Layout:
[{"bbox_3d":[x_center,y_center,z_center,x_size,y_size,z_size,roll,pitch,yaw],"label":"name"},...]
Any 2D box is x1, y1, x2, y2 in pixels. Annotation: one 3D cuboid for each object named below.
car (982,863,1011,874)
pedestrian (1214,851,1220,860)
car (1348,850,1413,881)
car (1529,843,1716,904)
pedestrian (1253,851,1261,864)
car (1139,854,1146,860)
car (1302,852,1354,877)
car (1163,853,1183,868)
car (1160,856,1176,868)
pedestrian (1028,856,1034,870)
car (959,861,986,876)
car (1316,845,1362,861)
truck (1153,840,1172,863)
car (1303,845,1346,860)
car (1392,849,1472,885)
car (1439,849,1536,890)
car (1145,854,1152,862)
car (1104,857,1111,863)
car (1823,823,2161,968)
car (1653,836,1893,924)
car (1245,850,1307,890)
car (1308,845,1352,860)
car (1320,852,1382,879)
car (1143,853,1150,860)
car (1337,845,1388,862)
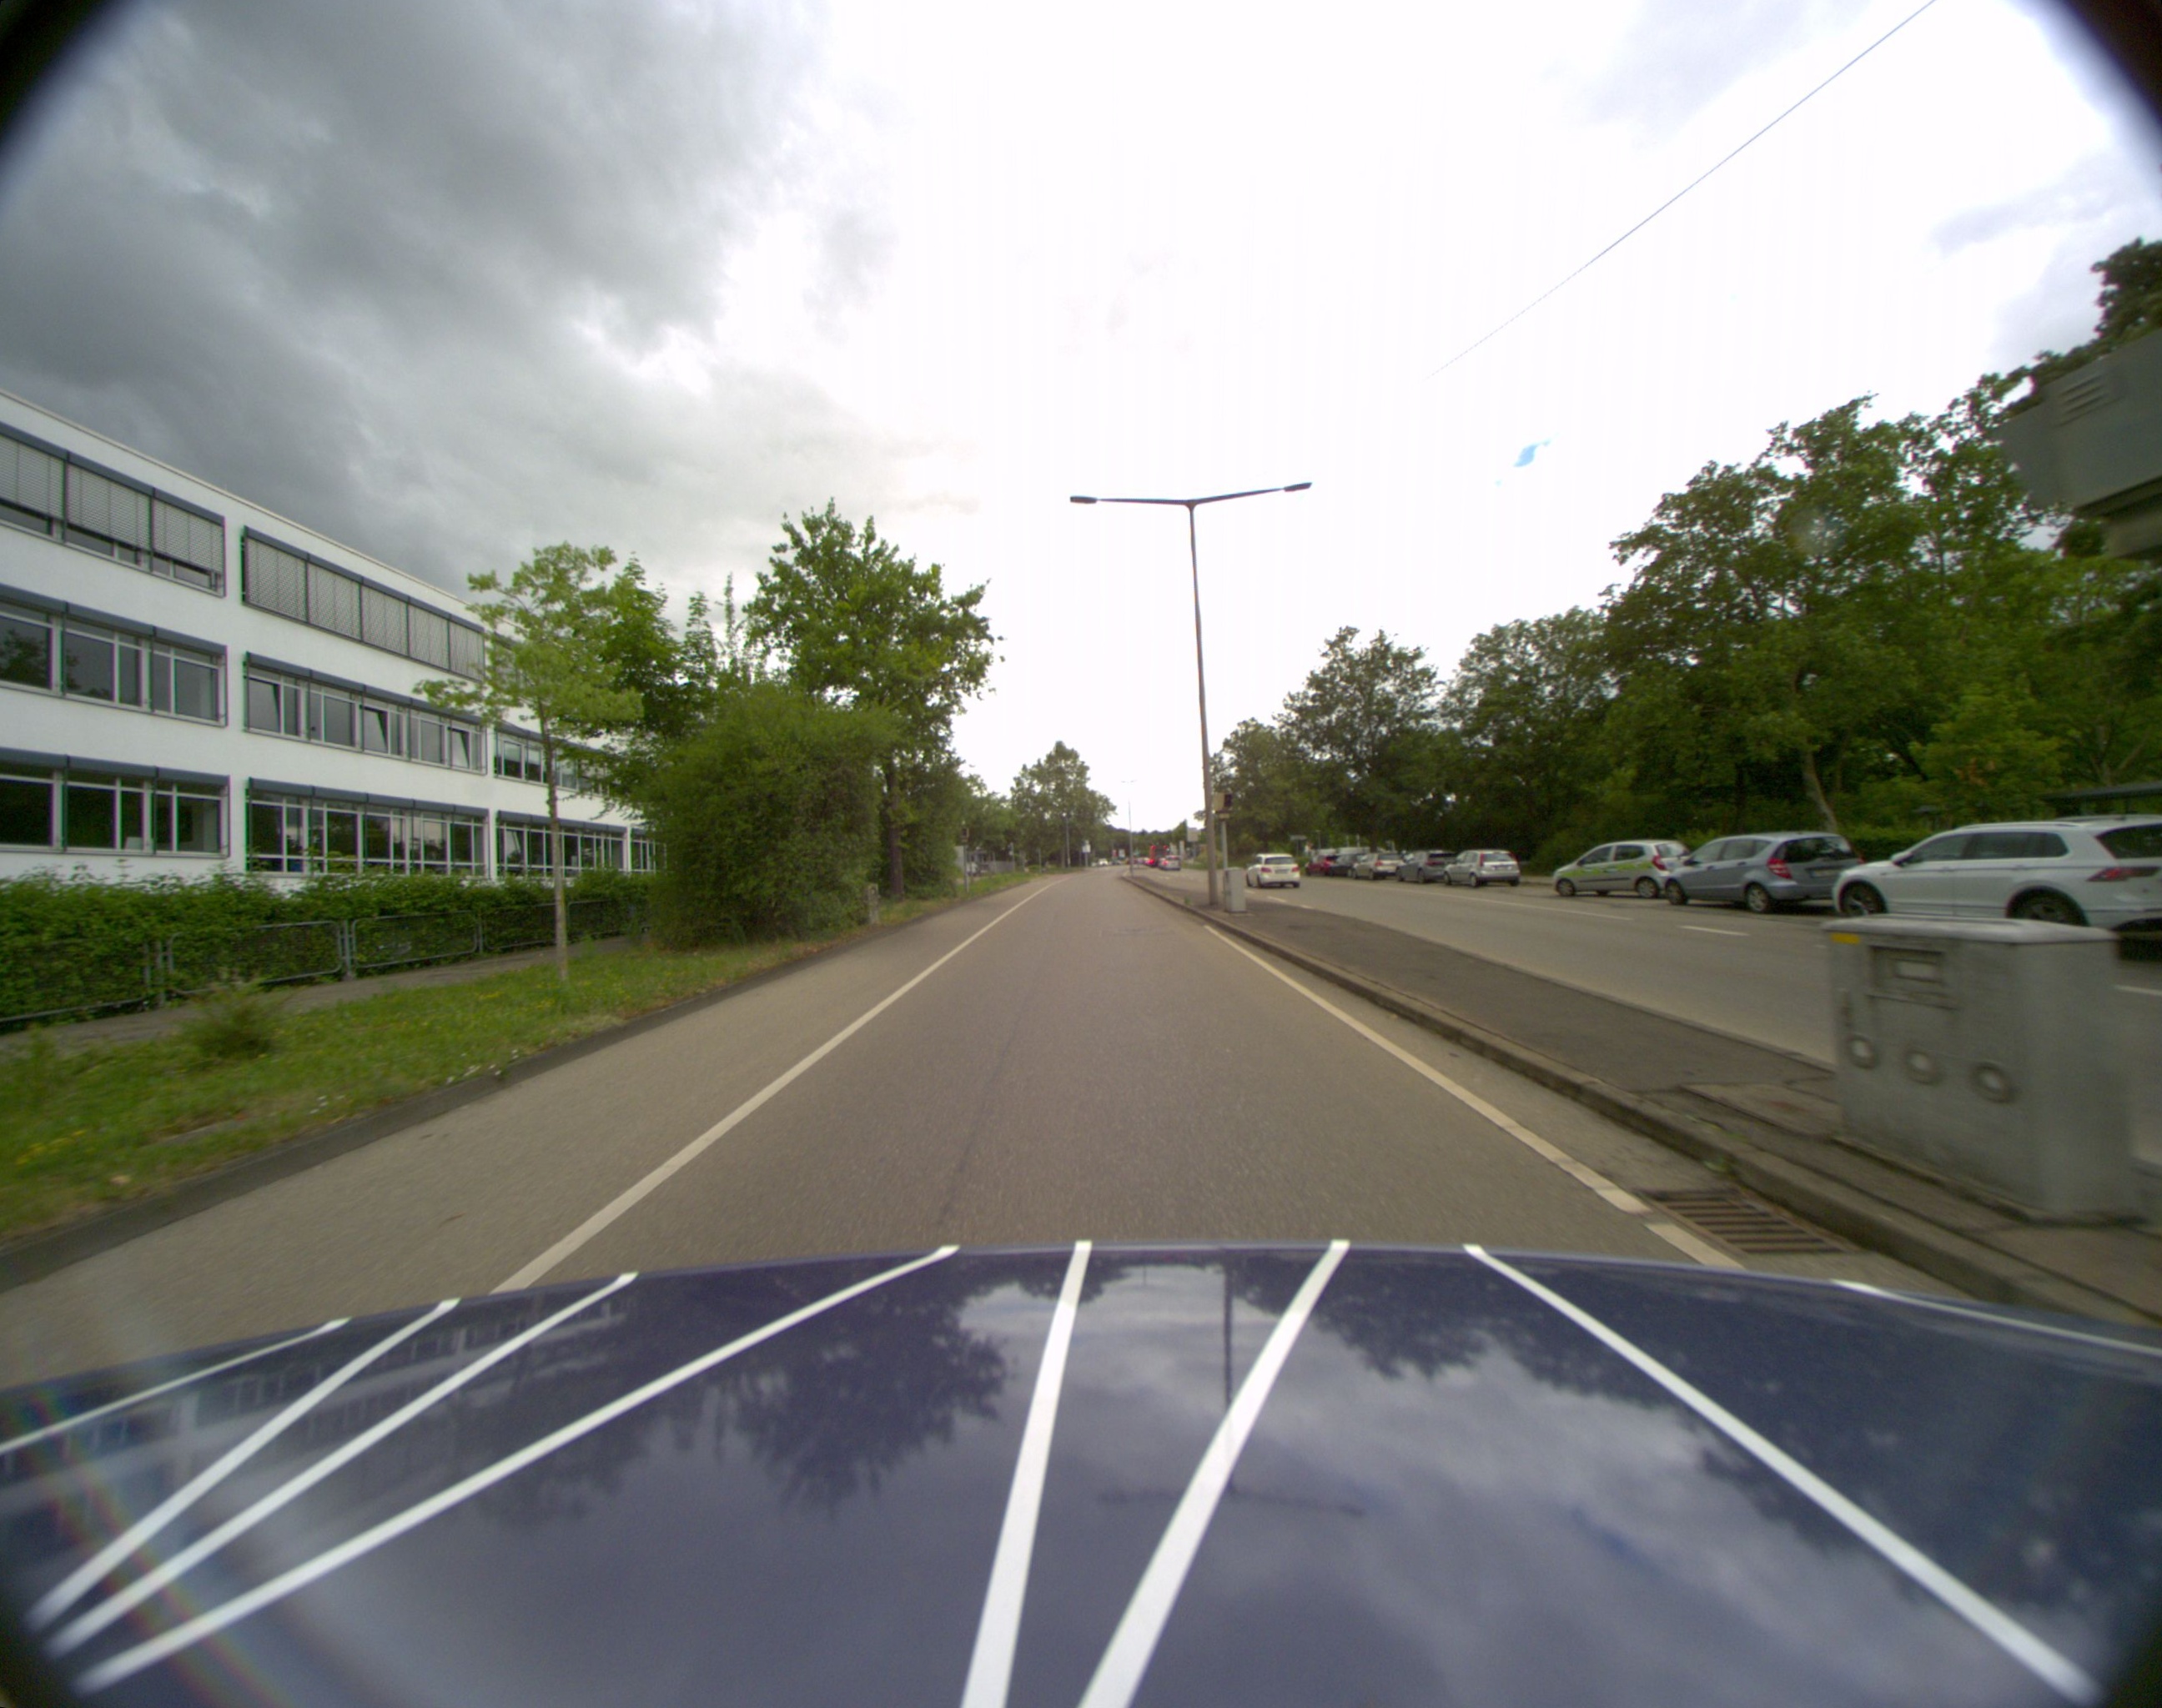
[{"bbox_3d":[-13.318,2.302,119.514,4.188,1.439,1.819,-5,-1,0],"label":"car"},{"bbox_3d":[21.268,0.211,118.914,0.757,1.438,0.639,-3,1,1],"label":"pedestrian"},{"bbox_3d":[16.239,0.601,41.386,1.880,1.498,4.057,-3,0,0],"label":"car"},{"bbox_3d":[15.234,0.527,21.653,1.882,1.498,3.994,-2,0,-18],"label":"car"},{"bbox_3d":[23.651,0.458,102.016,0.757,1.727,0.638,-3,1,-7],"label":"pedestrian"},{"bbox_3d":[15.263,0.755,188.519,1.591,1.608,3.585,-2,0,5],"label":"car"},{"bbox_3d":[16.567,0.691,51.201,1.881,1.498,3.886,-3,0,-6],"label":"car"},{"bbox_3d":[11.089,0.767,92.177,1.833,1.759,4.407,-3,0,0],"label":"car"},{"bbox_3d":[11.161,1.041,97.977,1.733,1.477,4.123,-1,0,2],"label":"car"},{"bbox_3d":[-6.496,1.152,97.959,0.734,1.717,0.501,-1,1,-2],"label":"pedestrian"},{"bbox_3d":[-11.321,1.511,79.389,1.851,1.408,4.982,-4,-1,2],"label":"car"},{"bbox_3d":[33.265,-0.133,98.028,5.297,2.002,1.739,0,1,1],"label":"car"},{"bbox_3d":[13.186,-0.423,123.063,2.831,3.460,7.826,-2,0,5],"label":"truck"},{"bbox_3d":[33.074,-0.168,103.340,5.297,2.002,1.739,0,1,0],"label":"car"},{"bbox_3d":[16.301,0.584,35.524,1.880,1.498,4.001,-3,-1,0],"label":"car"},{"bbox_3d":[16.229,0.582,30.586,1.879,1.498,4.001,-2,0,3],"label":"car"},{"bbox_3d":[15.029,0.844,169.679,1.591,1.608,3.585,-2,0,5],"label":"car"},{"bbox_3d":[6.868,1.555,198.448,1.591,1.480,3.583,-2,0,1],"label":"car"},{"bbox_3d":[13.533,0.455,10.897,1.879,1.657,4.393,-3,0,9],"label":"car"},{"bbox_3d":[14.577,0.478,16.363,1.879,1.587,4.002,-3,0,8],"label":"car"},{"bbox_3d":[8.818,0.681,34.723,1.879,1.561,4.339,-3,1,3],"label":"car"},{"bbox_3d":[33.113,-0.179,101.224,5.297,2.002,1.739,0,1,0],"label":"car"},{"bbox_3d":[16.601,0.687,46.944,1.881,1.498,3.997,-3,0,-8],"label":"car"},{"bbox_3d":[15.668,0.686,182.919,1.591,1.608,3.585,-2,0,5],"label":"car"},{"bbox_3d":[33.209,-0.096,89.834,5.297,2.002,2.011,0,1,0],"label":"car"}]
